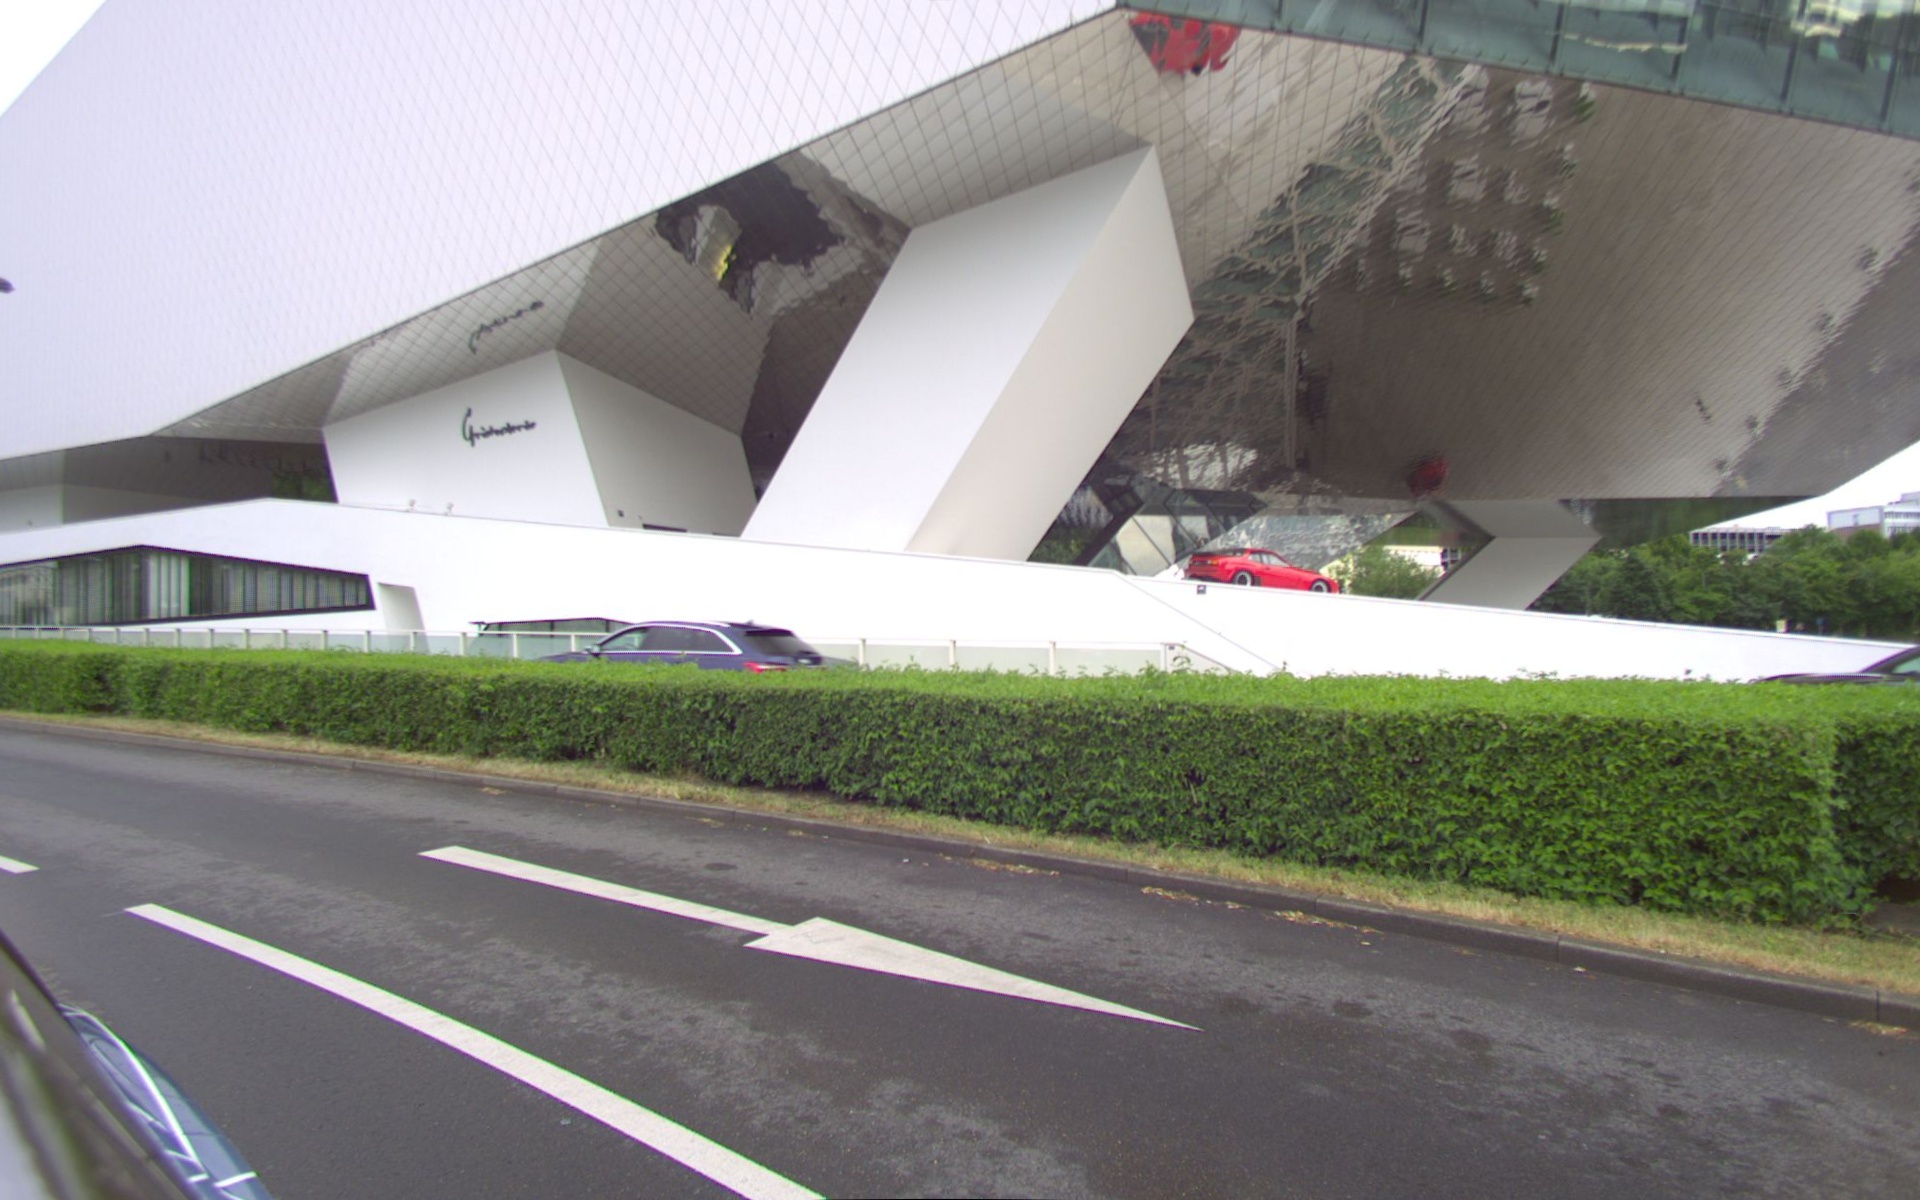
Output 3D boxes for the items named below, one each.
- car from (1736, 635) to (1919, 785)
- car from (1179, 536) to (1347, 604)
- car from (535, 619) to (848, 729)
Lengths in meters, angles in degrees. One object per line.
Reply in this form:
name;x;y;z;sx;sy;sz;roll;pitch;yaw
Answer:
car;11.276;1.123;10.685;4.476;1.483;1.828;-1;-2;18
car;8.248;-0.778;27.580;4.032;1.252;1.643;7;-4;-15
car;-3.726;0.961;14.041;3.977;1.348;1.836;-1;-2;25
